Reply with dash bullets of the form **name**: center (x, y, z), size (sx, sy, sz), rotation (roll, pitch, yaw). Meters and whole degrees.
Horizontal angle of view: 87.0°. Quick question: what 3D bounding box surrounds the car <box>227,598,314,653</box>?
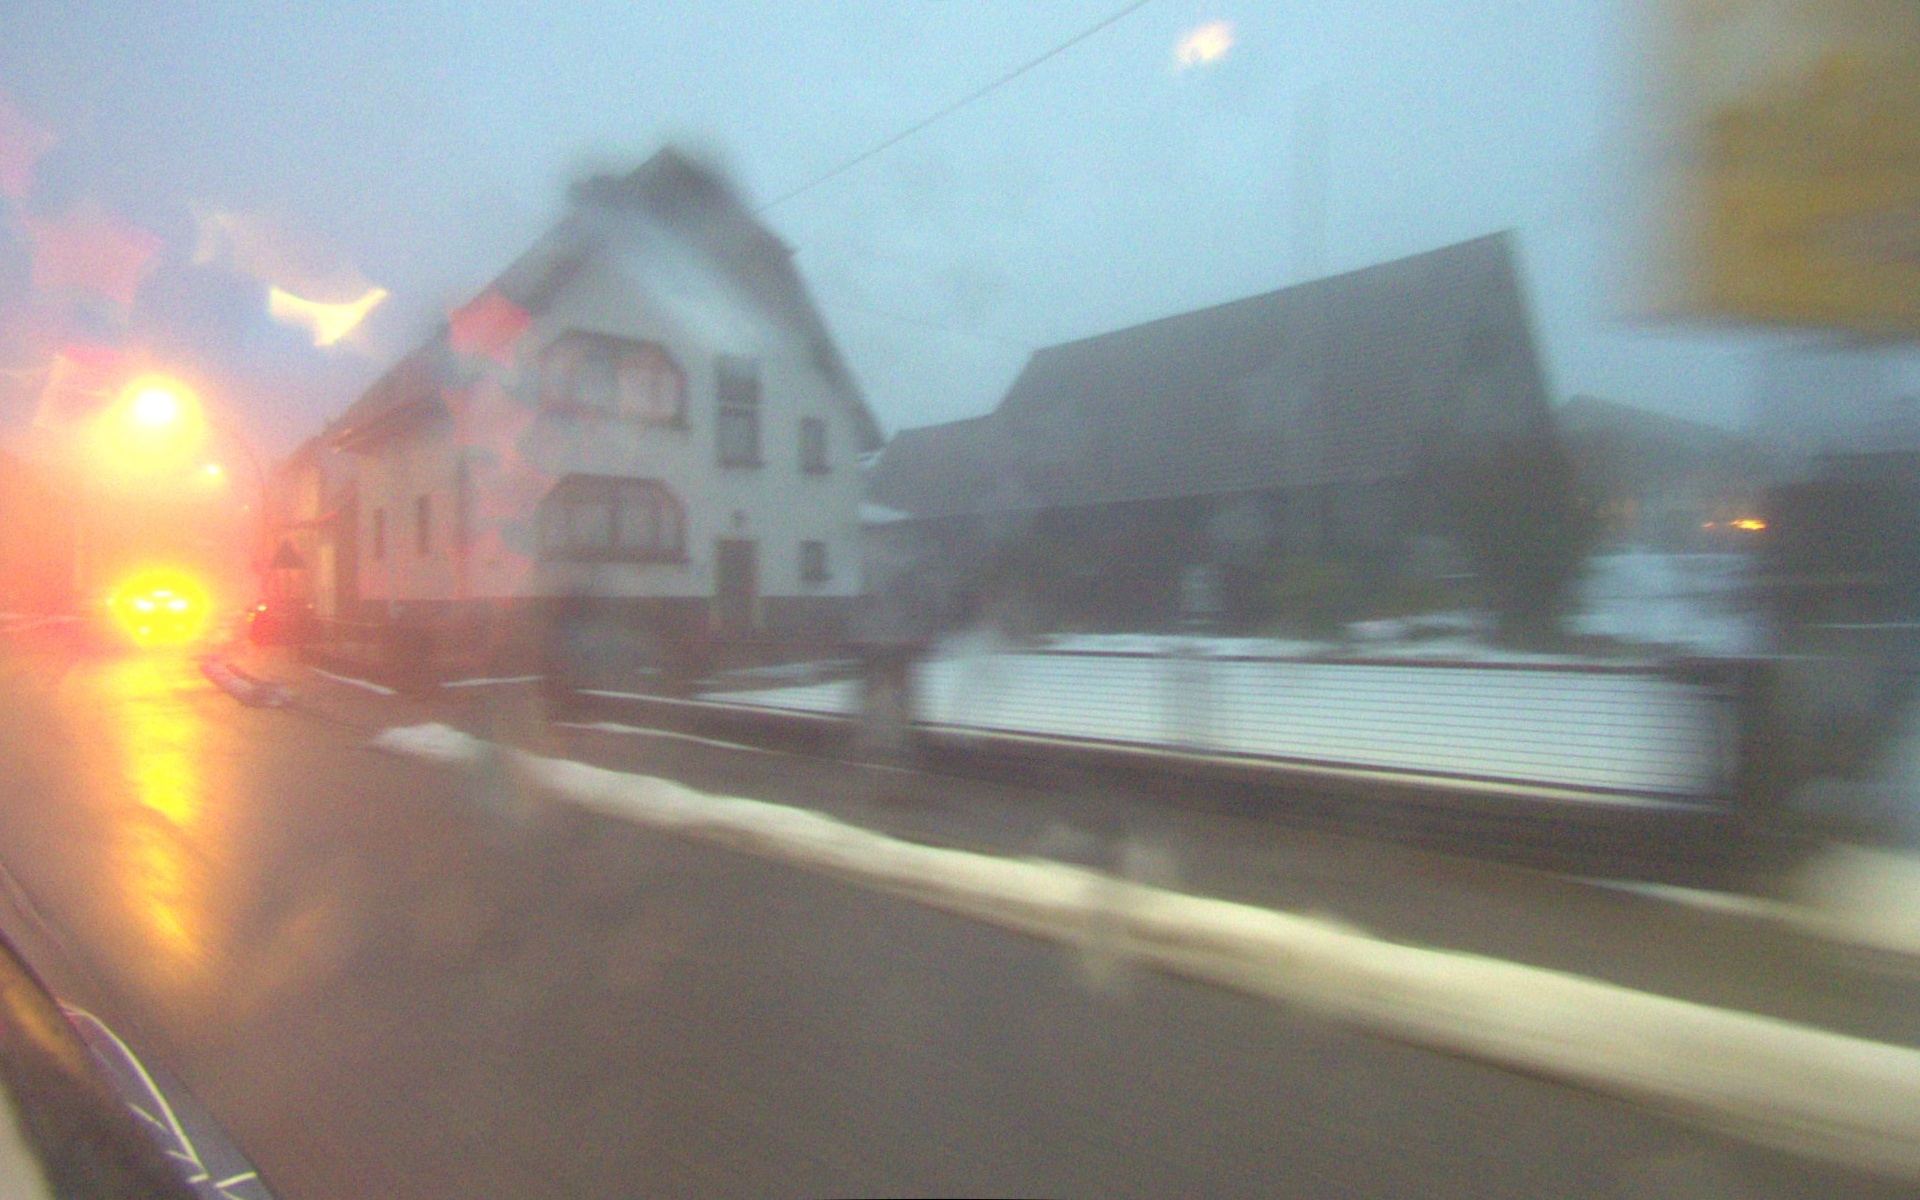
- **car**: center (-22.139, 0.767, 32.423), size (1.968, 1.534, 4.199), rotation (-4, 2, -38)

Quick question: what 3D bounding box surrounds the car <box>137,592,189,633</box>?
- **car**: center (-37.803, 0.563, 48.098), size (1.817, 1.700, 4.488), rotation (-1, 2, -37)

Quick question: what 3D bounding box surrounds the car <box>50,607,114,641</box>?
- **car**: center (-46.375, 1.235, 53.521), size (1.884, 1.492, 4.295), rotation (-1, 2, -32)
